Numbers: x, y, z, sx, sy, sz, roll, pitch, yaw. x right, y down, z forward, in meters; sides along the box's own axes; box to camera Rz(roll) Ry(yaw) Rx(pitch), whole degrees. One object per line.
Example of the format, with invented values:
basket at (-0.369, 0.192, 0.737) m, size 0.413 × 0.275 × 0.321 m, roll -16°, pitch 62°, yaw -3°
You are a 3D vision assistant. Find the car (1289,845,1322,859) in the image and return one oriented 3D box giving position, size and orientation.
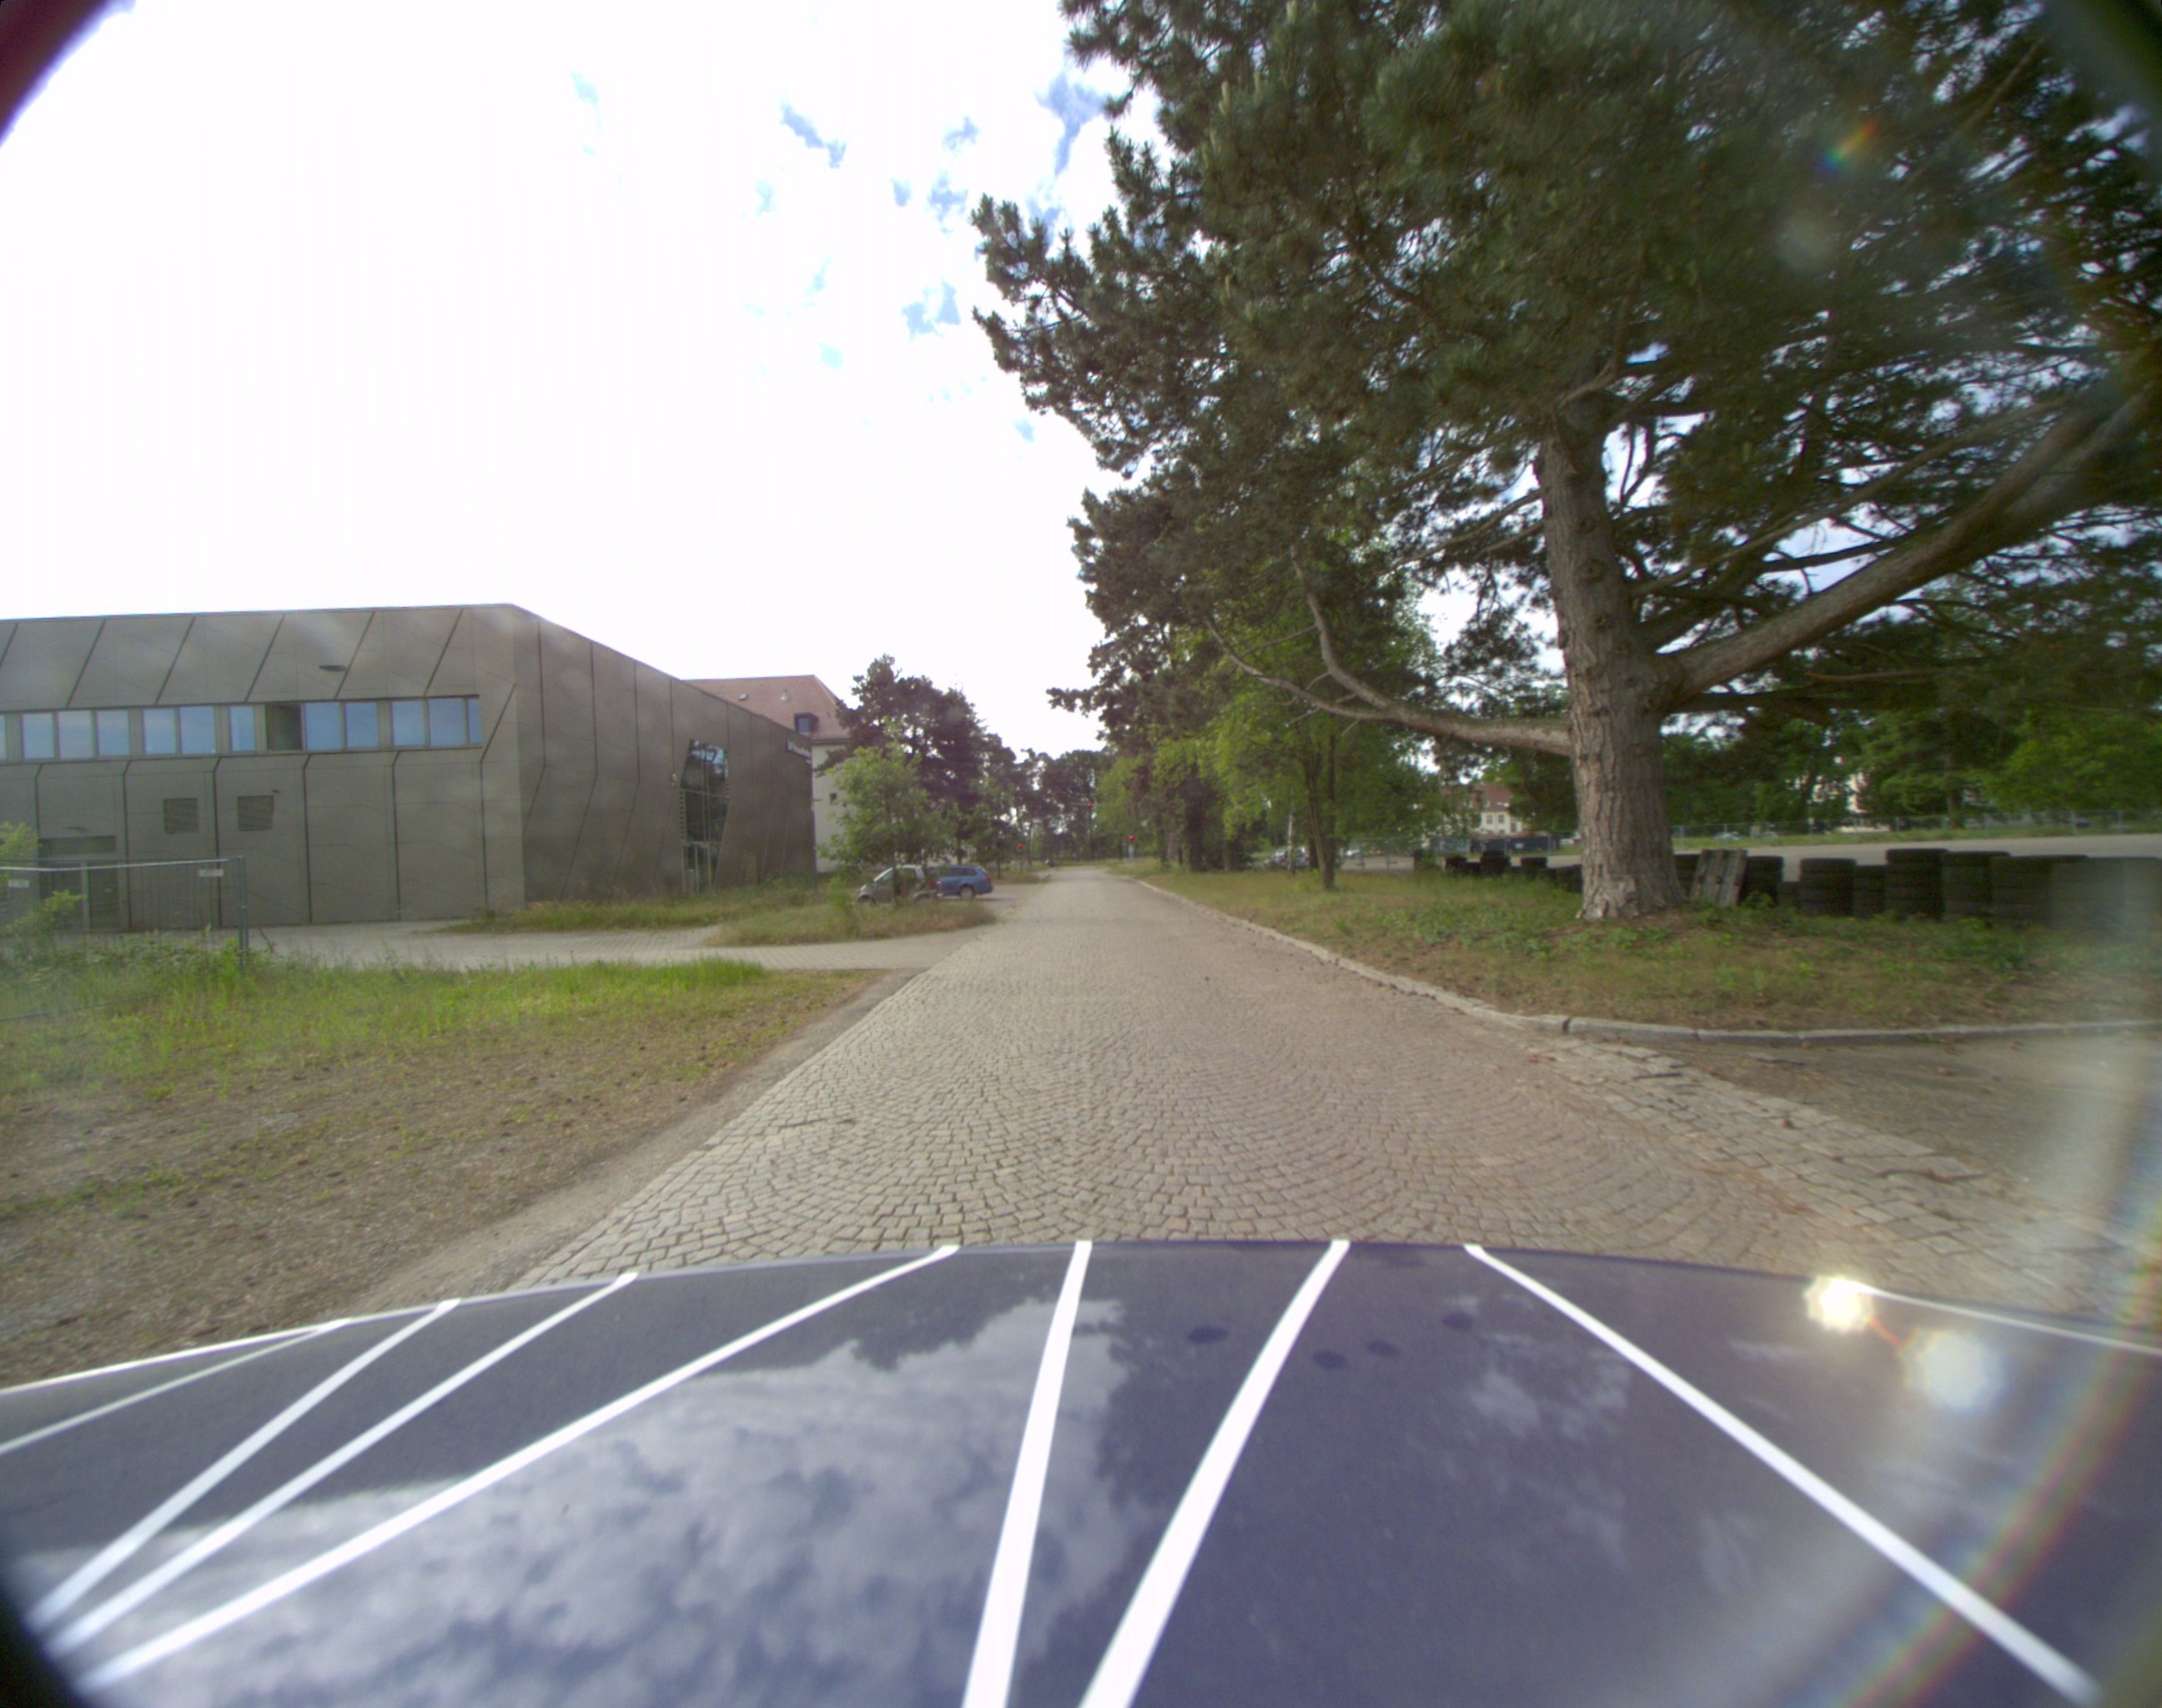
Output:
car at (24.985, -0.203, 84.698) m, size 1.999 × 1.441 × 4.451 m, roll -2°, pitch 0°, yaw -4°

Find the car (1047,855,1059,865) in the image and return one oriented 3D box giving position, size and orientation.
car at (-5.525, 1.155, 147.748) m, size 1.999 × 1.777 × 3.998 m, roll -2°, pitch 0°, yaw -6°

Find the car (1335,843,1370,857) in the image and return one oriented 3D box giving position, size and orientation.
car at (30.442, -0.459, 85.351) m, size 1.999 × 1.441 × 4.451 m, roll -2°, pitch 0°, yaw -4°

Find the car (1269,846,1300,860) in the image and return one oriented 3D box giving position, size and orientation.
car at (22.482, -0.082, 84.206) m, size 1.999 × 1.441 × 4.451 m, roll -2°, pitch 0°, yaw -4°

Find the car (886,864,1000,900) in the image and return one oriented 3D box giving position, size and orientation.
car at (-5.777, 1.173, 32.249) m, size 4.537 × 1.441 × 1.931 m, roll 0°, pitch 0°, yaw -2°

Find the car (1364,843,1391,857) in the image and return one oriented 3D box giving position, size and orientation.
car at (37.238, -0.522, 95.534) m, size 1.611 × 1.674 × 3.803 m, roll -2°, pitch 0°, yaw -5°

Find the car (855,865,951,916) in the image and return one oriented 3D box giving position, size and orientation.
car at (-5.778, 1.168, 24.891) m, size 2.748 × 1.573 × 1.682 m, roll 0°, pitch 0°, yaw 0°

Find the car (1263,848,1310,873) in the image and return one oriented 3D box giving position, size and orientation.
car at (12.556, 0.379, 46.591) m, size 1.670 × 1.402 × 3.723 m, roll -2°, pitch 0°, yaw -3°

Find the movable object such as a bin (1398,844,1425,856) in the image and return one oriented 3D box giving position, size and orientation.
movable object such as a bin at (31.518, -0.364, 72.553) m, size 1.057 × 1.064 × 2.719 m, roll -2°, pitch 0°, yaw -9°
